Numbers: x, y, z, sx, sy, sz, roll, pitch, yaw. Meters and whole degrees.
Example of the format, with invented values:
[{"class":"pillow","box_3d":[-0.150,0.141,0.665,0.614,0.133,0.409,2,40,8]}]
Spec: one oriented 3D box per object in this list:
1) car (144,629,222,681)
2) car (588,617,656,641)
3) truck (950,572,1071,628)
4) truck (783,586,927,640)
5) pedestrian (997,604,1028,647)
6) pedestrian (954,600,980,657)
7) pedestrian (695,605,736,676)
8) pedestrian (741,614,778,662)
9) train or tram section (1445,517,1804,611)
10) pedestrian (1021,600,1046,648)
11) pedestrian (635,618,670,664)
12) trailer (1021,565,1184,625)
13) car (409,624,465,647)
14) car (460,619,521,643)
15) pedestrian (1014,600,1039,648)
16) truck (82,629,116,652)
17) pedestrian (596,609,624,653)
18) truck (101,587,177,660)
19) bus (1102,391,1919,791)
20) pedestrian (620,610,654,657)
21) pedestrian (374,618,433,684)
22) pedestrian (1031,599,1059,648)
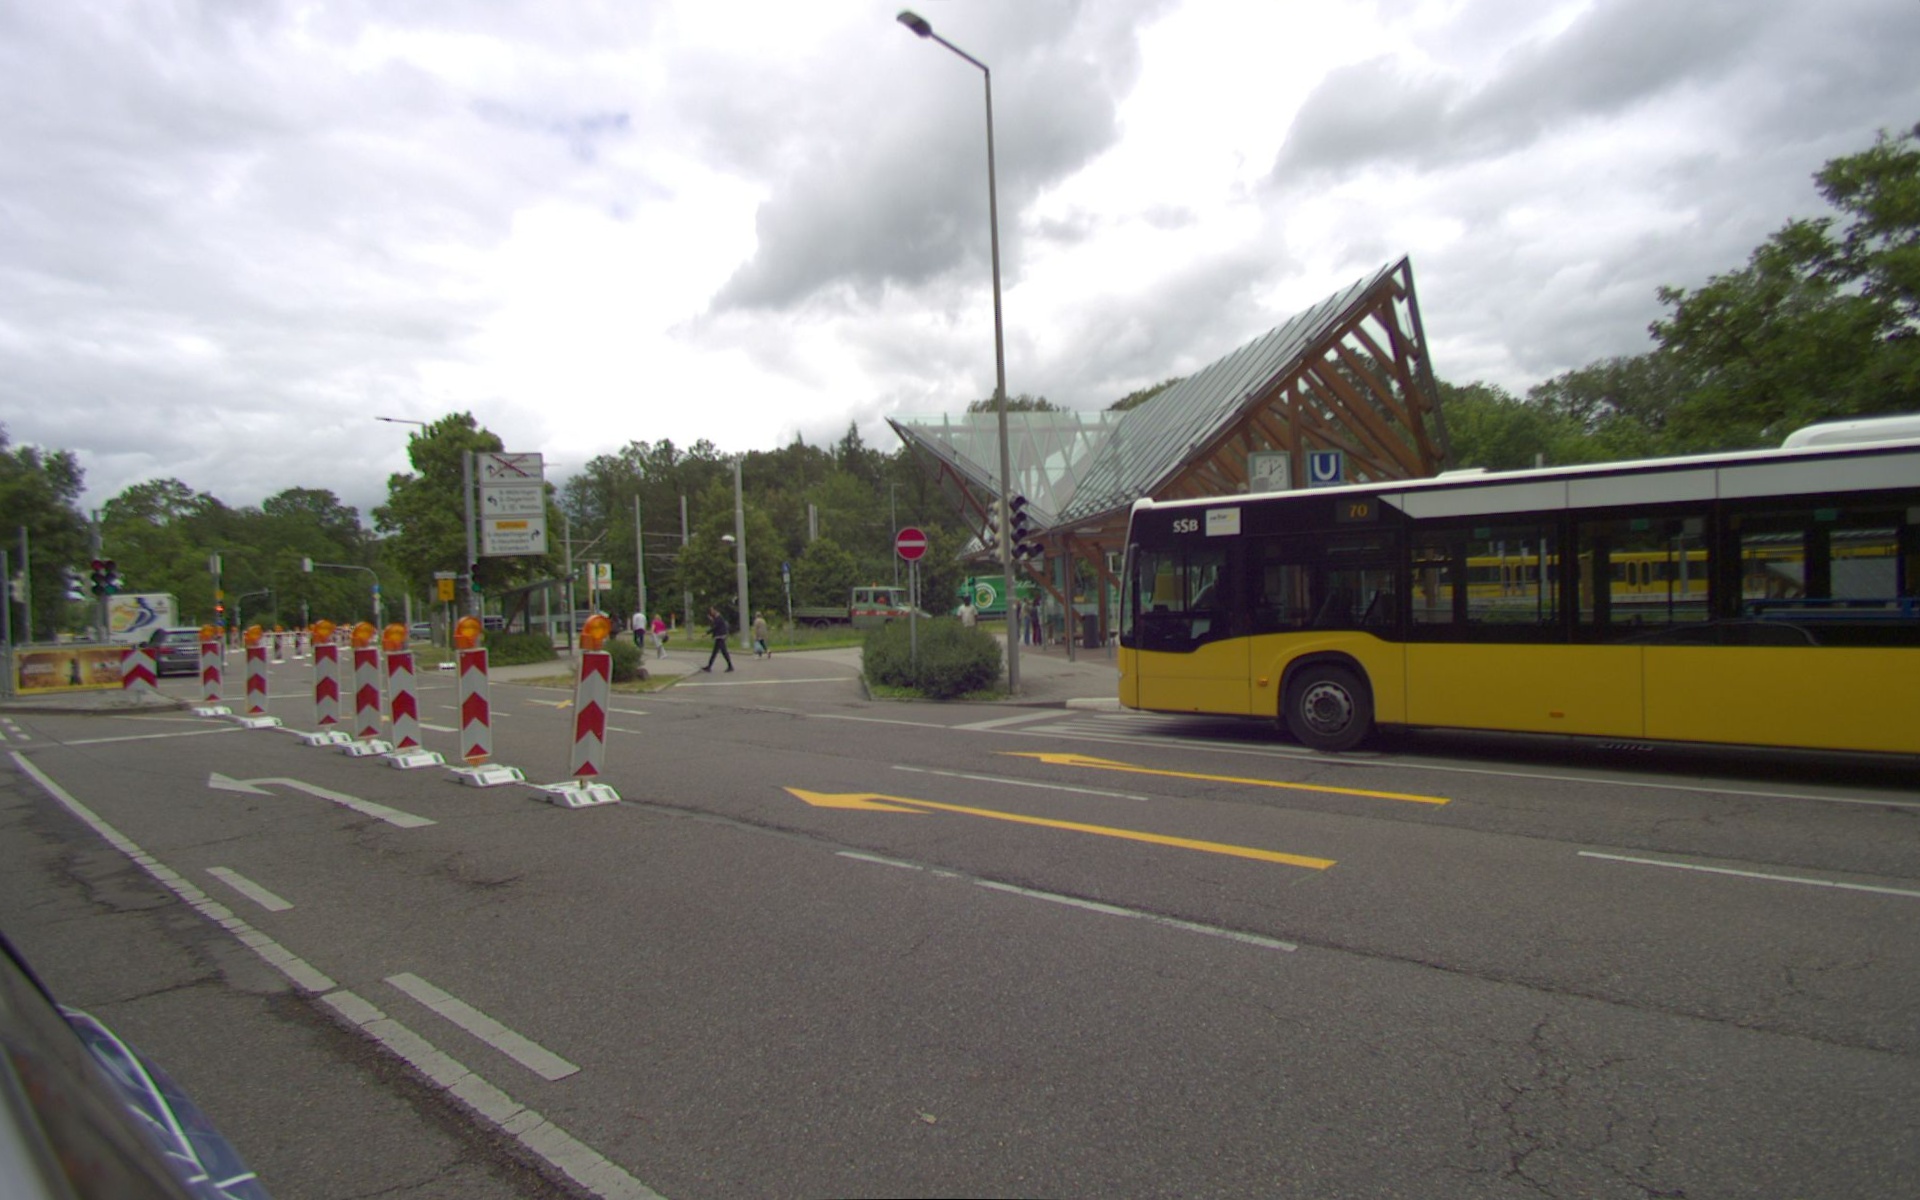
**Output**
[{"class":"car","box_3d":[-24.965,1.708,32.454,1.785,1.520,4.315,0,-1,-40]},{"class":"car","box_3d":[-27.449,2.346,82.342,4.847,1.599,1.955,-3,0,5]},{"class":"truck","box_3d":[4.043,0.000,80.667,8.708,3.910,3.762,-3,0,21]},{"class":"truck","box_3d":[-4.986,0.607,48.125,6.259,2.186,2.589,-3,0,22]},{"class":"pedestrian","box_3d":[2.029,0.986,39.118,0.773,1.637,0.770,-3,0,-44]},{"class":"pedestrian","box_3d":[0.210,0.809,29.508,0.666,1.608,0.673,-3,0,0]},{"class":"pedestrian","box_3d":[-6.615,1.072,27.345,0.978,1.822,0.768,-3,0,-14]},{"class":"pedestrian","box_3d":[-6.683,1.263,33.669,0.875,1.536,0.757,-3,0,42]},{"class":"train or tram section","box_3d":[40.454,-2.115,62.466,18.467,4.568,3.578,-3,0,9]},{"class":"pedestrian","box_3d":[2.552,0.832,35.241,0.663,1.637,0.585,-3,0,-9]},{"class":"pedestrian","box_3d":[-10.788,1.437,35.499,0.774,1.563,0.782,-3,0,37]},{"class":"trailer","box_3d":[10.948,-0.384,77.955,11.783,3.910,3.762,-3,0,21]},{"class":"car","box_3d":[-44.080,3.010,85.368,3.948,1.652,1.888,-3,0,16]},{"class":"car","box_3d":[-43.556,2.872,93.872,4.779,1.829,1.994,-3,0,9]},{"class":"pedestrian","box_3d":[2.370,0.841,35.967,0.663,1.637,0.585,-3,0,-9]},{"class":"truck","box_3d":[-126.060,5.904,148.274,2.702,3.235,6.692,-3,0,-32]},{"class":"pedestrian","box_3d":[-13.019,1.144,37.629,0.764,1.557,0.630,-3,1,-38]},{"class":"truck","box_3d":[-39.484,1.138,48.830,2.594,3.263,6.219,0,-2,-37]},{"class":"bus","box_3d":[6.482,-0.014,10.714,9.749,3.150,2.870,-2,-1,39]},{"class":"pedestrian","box_3d":[-11.860,1.230,37.162,0.865,1.678,0.680,-3,0,25]},{"class":"pedestrian","box_3d":[-14.944,1.349,27.188,0.908,1.689,1.082,-2,-1,32]},{"class":"pedestrian","box_3d":[2.915,0.812,34.730,0.663,1.637,0.585,-3,0,-34]}]
